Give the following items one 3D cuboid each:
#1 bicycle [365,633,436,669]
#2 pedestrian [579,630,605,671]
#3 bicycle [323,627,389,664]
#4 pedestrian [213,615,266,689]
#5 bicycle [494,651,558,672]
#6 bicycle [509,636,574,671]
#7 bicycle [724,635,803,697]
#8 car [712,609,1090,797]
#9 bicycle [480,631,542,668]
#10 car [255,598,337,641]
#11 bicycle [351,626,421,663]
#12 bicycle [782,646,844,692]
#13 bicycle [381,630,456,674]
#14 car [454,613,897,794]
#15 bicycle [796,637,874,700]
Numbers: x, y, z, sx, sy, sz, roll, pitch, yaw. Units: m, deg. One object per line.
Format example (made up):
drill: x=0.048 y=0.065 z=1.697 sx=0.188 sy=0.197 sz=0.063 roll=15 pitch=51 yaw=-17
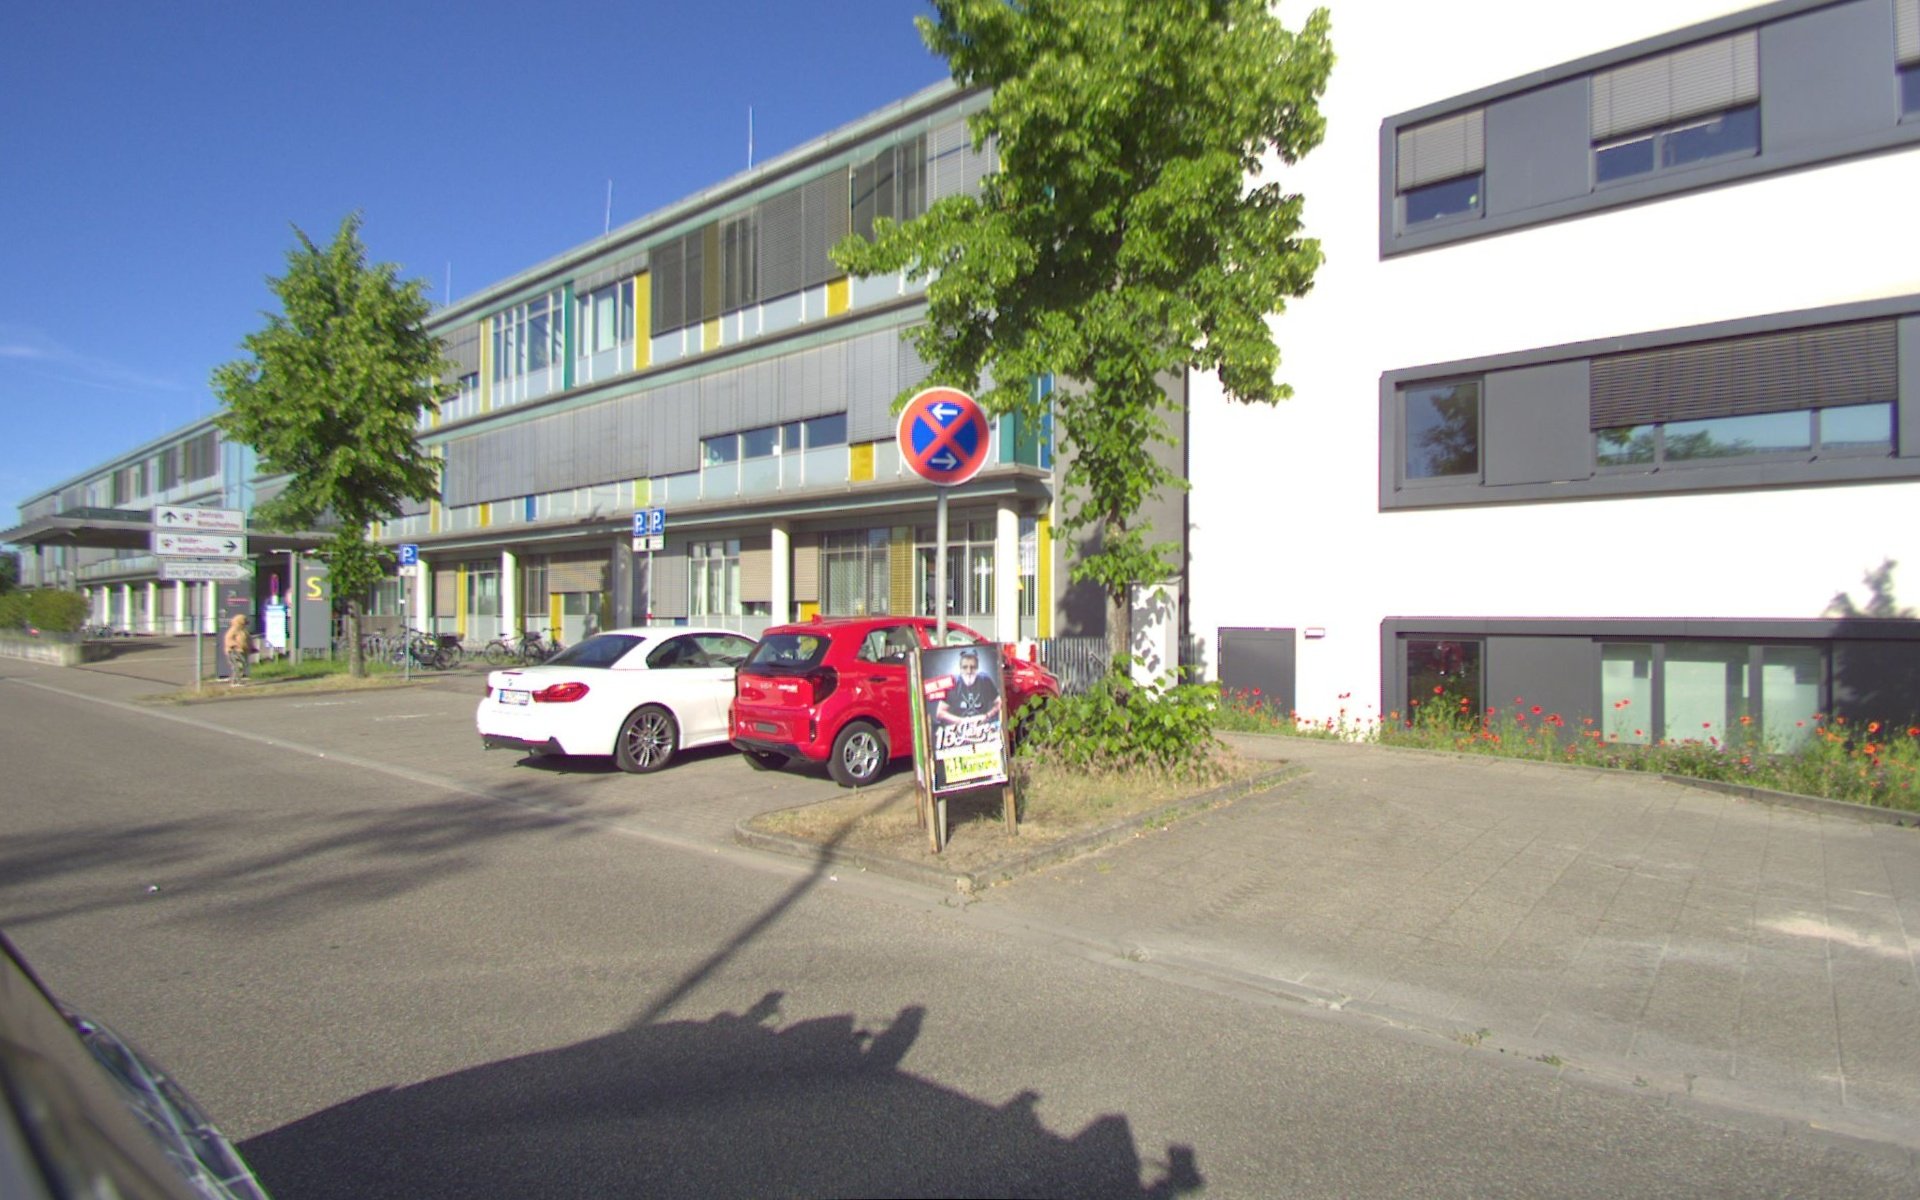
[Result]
bicycle: x=-15.883 y=1.434 z=28.777 sx=0.535 sy=0.981 sz=1.698 roll=-1 pitch=-2 yaw=38
pedestrian: x=-10.962 y=1.497 z=30.135 sx=0.555 sy=1.182 sz=0.526 roll=-1 pitch=-2 yaw=41
bicycle: x=-18.651 y=1.386 z=31.271 sx=0.534 sy=1.132 sz=1.702 roll=-1 pitch=-2 yaw=30
pedestrian: x=-15.887 y=1.135 z=22.324 sx=0.779 sy=1.561 sz=0.765 roll=-1 pitch=1 yaw=40
bicycle: x=-12.877 y=1.813 z=30.077 sx=0.536 sy=0.555 sz=1.698 roll=-1 pitch=-2 yaw=39
bicycle: x=-12.229 y=1.551 z=29.589 sx=0.536 sy=1.001 sz=1.698 roll=-1 pitch=-2 yaw=39
bicycle: x=-3.792 y=1.242 z=19.460 sx=1.861 sy=1.120 sz=0.528 roll=-2 pitch=-2 yaw=44
car: x=-0.467 y=0.872 z=10.151 sx=3.592 sy=1.480 sz=1.615 roll=-1 pitch=-1 yaw=-44
bicycle: x=-13.963 y=1.525 z=31.518 sx=0.536 sy=1.132 sz=1.698 roll=-1 pitch=-2 yaw=39
car: x=-30.780 y=0.921 z=46.850 sx=4.707 sy=1.905 sz=1.900 roll=-1 pitch=-2 yaw=40
bicycle: x=-16.744 y=1.292 z=29.550 sx=0.535 sy=1.063 sz=1.698 roll=-1 pitch=-2 yaw=38
bicycle: x=-2.951 y=1.360 z=20.247 sx=1.450 sy=0.870 sz=0.365 roll=-2 pitch=-2 yaw=41
bicycle: x=-14.365 y=1.371 z=26.871 sx=1.683 sy=1.130 sz=0.536 roll=2 pitch=-2 yaw=-45
car: x=-2.882 y=0.947 z=11.119 sx=1.699 sy=1.377 sz=4.465 roll=-1 pitch=1 yaw=41
bicycle: x=-2.383 y=1.281 z=19.184 sx=1.763 sy=1.132 sz=0.416 roll=-2 pitch=-2 yaw=41
